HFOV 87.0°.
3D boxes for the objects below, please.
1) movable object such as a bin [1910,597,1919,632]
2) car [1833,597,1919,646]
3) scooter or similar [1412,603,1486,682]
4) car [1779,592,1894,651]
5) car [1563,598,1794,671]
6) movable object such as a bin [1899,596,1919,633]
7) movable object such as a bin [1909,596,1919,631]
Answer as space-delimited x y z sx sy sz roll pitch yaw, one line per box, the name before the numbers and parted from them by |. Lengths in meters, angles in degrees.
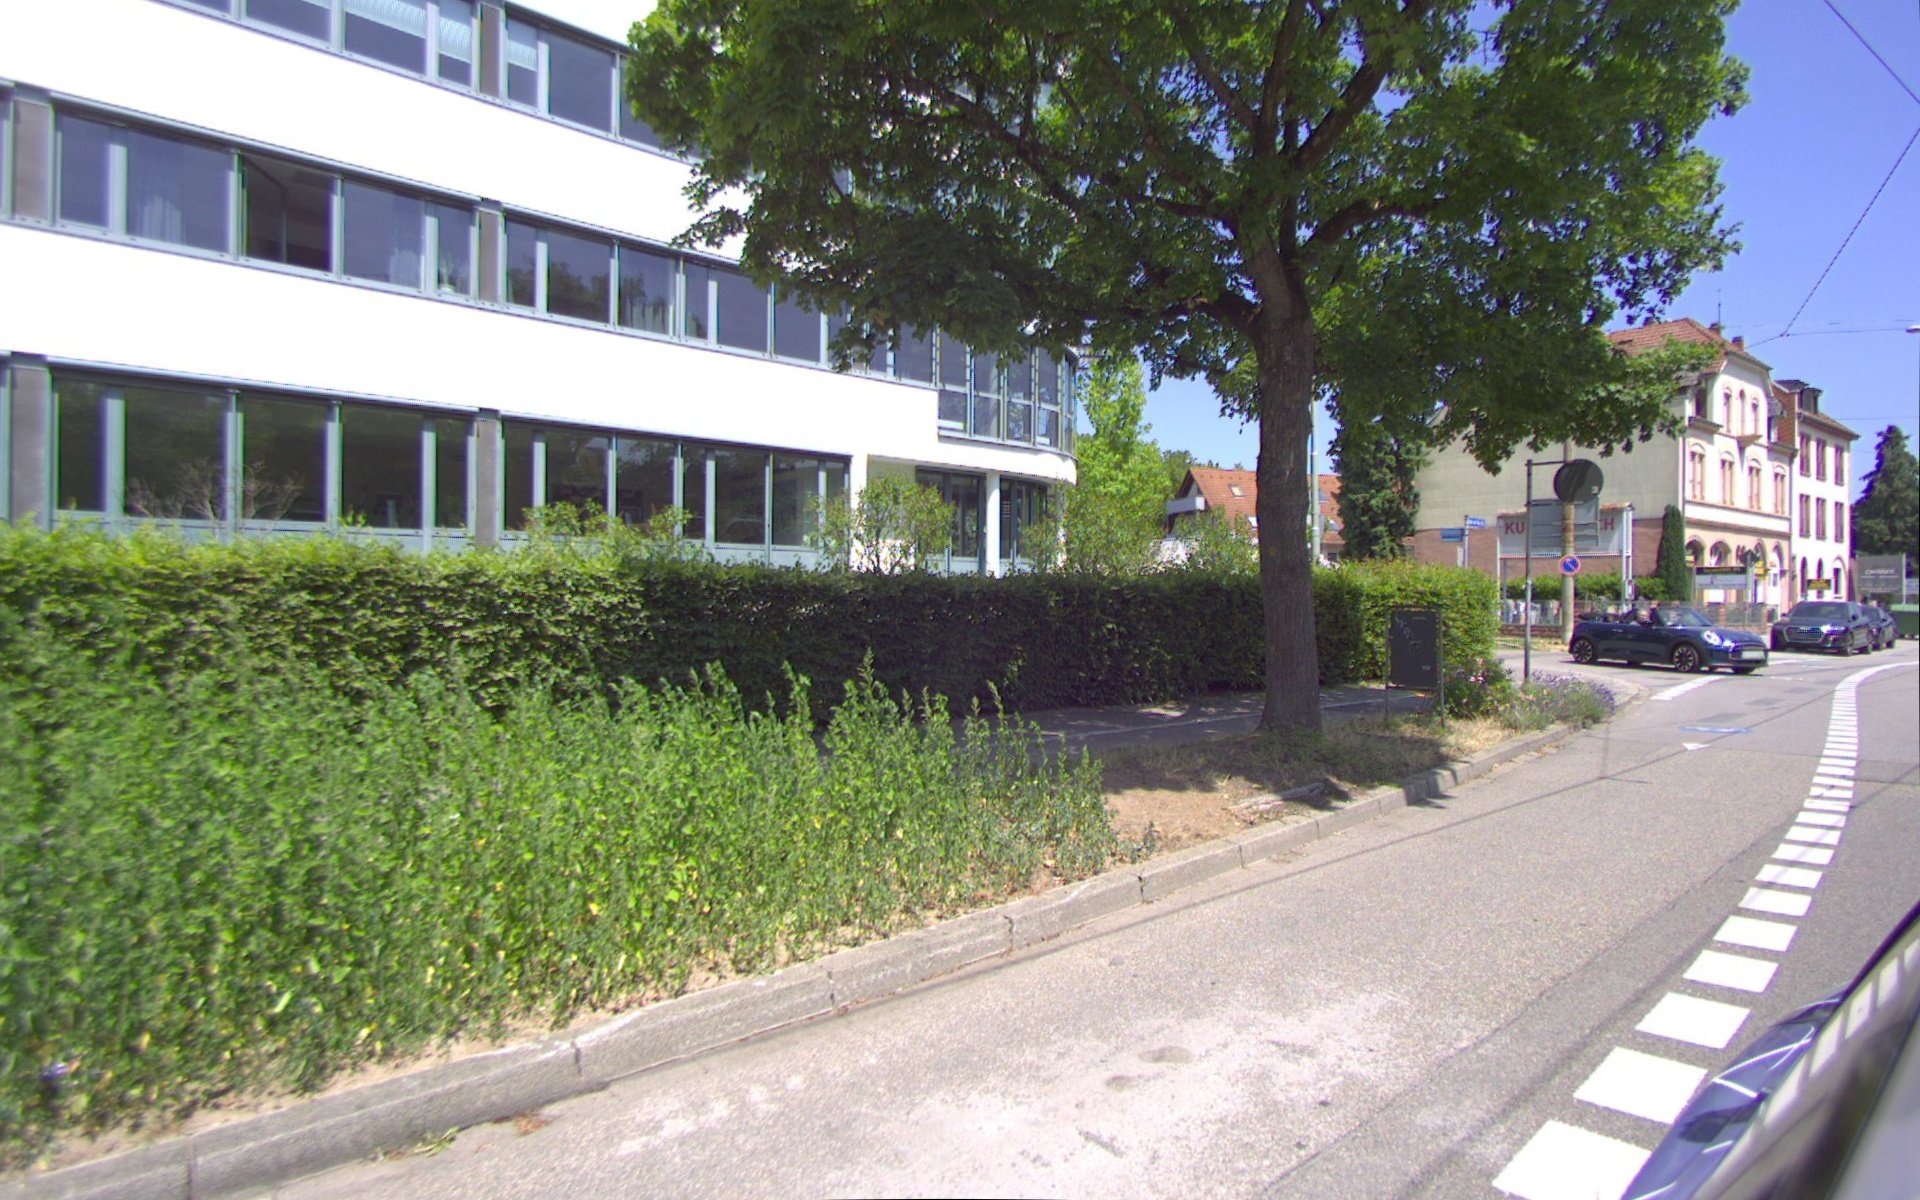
movable object such as a bin | 40.864 0.624 42.524 1.040 1.473 1.249 0 2 -43
car | 33.219 0.735 36.600 4.388 1.567 1.776 -1 2 -40
scooter or similar | 7.865 0.670 16.279 1.127 1.238 0.327 0 -2 -18
car | 28.226 0.625 32.526 4.990 1.714 1.929 0 2 -39
car | 15.519 0.679 22.127 1.667 1.389 3.935 0 1 -15
movable object such as a bin | 39.928 0.603 41.965 1.040 1.473 1.325 0 2 -43
movable object such as a bin | 41.633 0.612 43.301 1.120 1.473 1.394 0 2 -43
